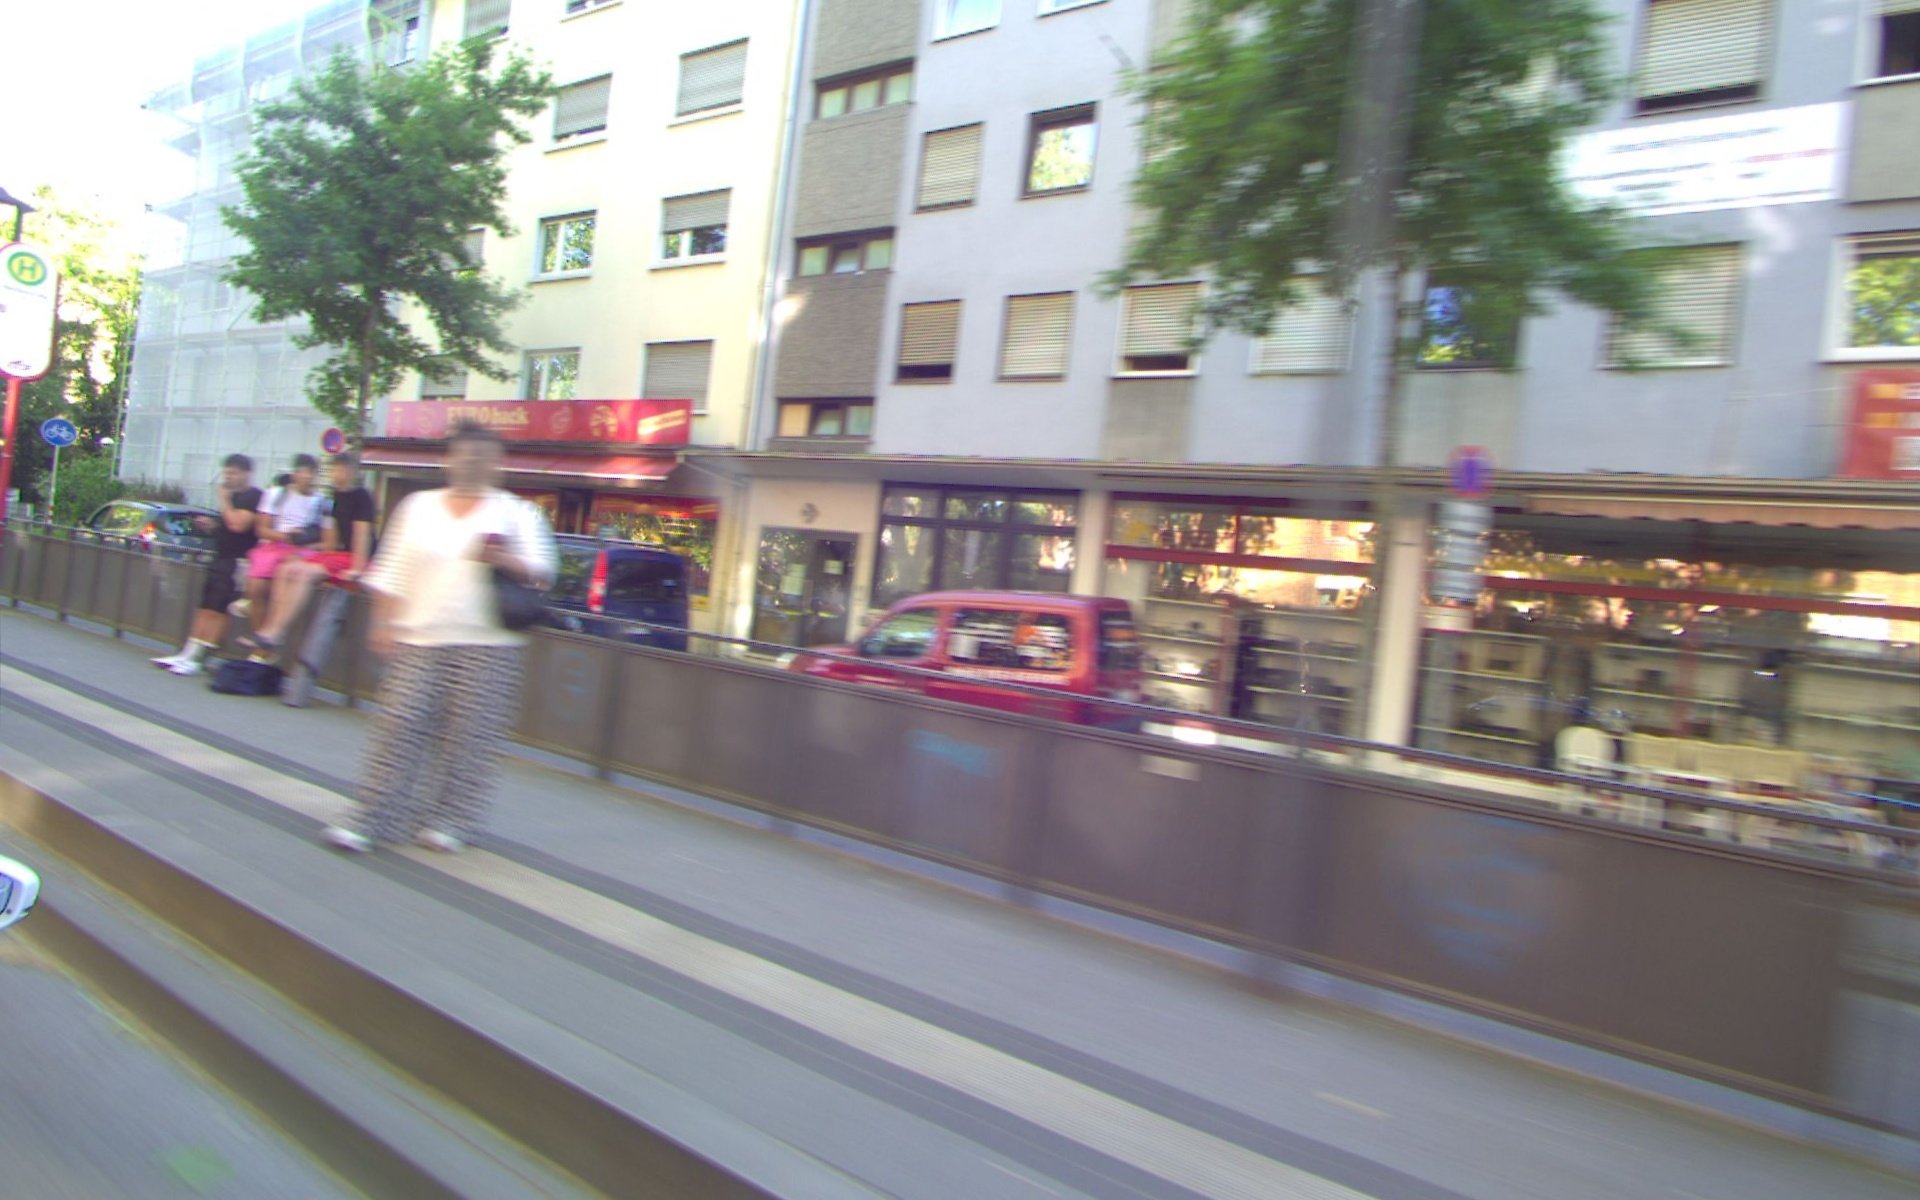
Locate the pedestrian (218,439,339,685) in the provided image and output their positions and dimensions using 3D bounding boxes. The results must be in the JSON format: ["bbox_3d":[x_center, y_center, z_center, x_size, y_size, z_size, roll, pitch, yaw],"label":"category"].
[{"bbox_3d":[-5.315,-0.289,7.839,0.491,1.790,0.695,8,-1,-43],"label":"pedestrian"}]

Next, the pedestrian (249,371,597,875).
[{"bbox_3d":[-2.059,0.097,3.971,0.821,1.732,0.640,7,-1,-3],"label":"pedestrian"}]

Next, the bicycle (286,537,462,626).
[{"bbox_3d":[-9.520,-0.272,16.448,1.012,1.225,2.206,6,0,31],"label":"bicycle"}]

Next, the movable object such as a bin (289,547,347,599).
[{"bbox_3d":[-15.424,-0.643,24.192,0.685,1.125,0.882,7,1,29],"label":"movable object such as a bin"}]

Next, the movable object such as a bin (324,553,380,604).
[{"bbox_3d":[-14.974,-0.528,24.791,0.685,1.125,0.882,7,1,29],"label":"movable object such as a bin"}]

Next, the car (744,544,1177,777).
[{"bbox_3d":[-0.055,0.555,10.594,4.103,1.775,1.692,6,-2,30],"label":"car"}]

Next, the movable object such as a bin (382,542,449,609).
[{"bbox_3d":[-12.168,-0.539,22.482,0.811,1.367,0.924,7,1,29],"label":"movable object such as a bin"}]

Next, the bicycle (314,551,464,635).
[{"bbox_3d":[-9.967,-0.120,17.586,2.169,1.225,0.685,6,1,3],"label":"bicycle"}]

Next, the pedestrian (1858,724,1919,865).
[{"bbox_3d":[8.903,1.809,9.262,0.637,1.219,0.681,7,-1,21],"label":"pedestrian"}]

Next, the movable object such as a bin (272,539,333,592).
[{"bbox_3d":[-15.284,-0.795,23.391,0.685,1.125,0.882,7,1,29],"label":"movable object such as a bin"}]

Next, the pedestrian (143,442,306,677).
[{"bbox_3d":[-5.930,-0.305,8.132,0.570,1.775,0.690,7,-1,25],"label":"pedestrian"}]

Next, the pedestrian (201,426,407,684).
[{"bbox_3d":[-4.743,-0.302,7.314,0.680,1.720,0.847,7,-1,25],"label":"pedestrian"}]

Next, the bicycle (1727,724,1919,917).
[{"bbox_3d":[7.574,1.767,7.499,2.734,1.196,0.771,7,3,27],"label":"bicycle"}]

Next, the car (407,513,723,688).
[{"bbox_3d":[-5.584,-0.026,14.095,4.126,1.920,1.994,7,1,34],"label":"car"}]

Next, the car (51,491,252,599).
[{"bbox_3d":[-16.029,-1.105,19.893,4.369,1.642,1.763,7,1,33],"label":"car"}]

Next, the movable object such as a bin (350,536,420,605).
[{"bbox_3d":[-13.005,-0.659,22.752,0.811,1.414,1.000,7,1,29],"label":"movable object such as a bin"}]
